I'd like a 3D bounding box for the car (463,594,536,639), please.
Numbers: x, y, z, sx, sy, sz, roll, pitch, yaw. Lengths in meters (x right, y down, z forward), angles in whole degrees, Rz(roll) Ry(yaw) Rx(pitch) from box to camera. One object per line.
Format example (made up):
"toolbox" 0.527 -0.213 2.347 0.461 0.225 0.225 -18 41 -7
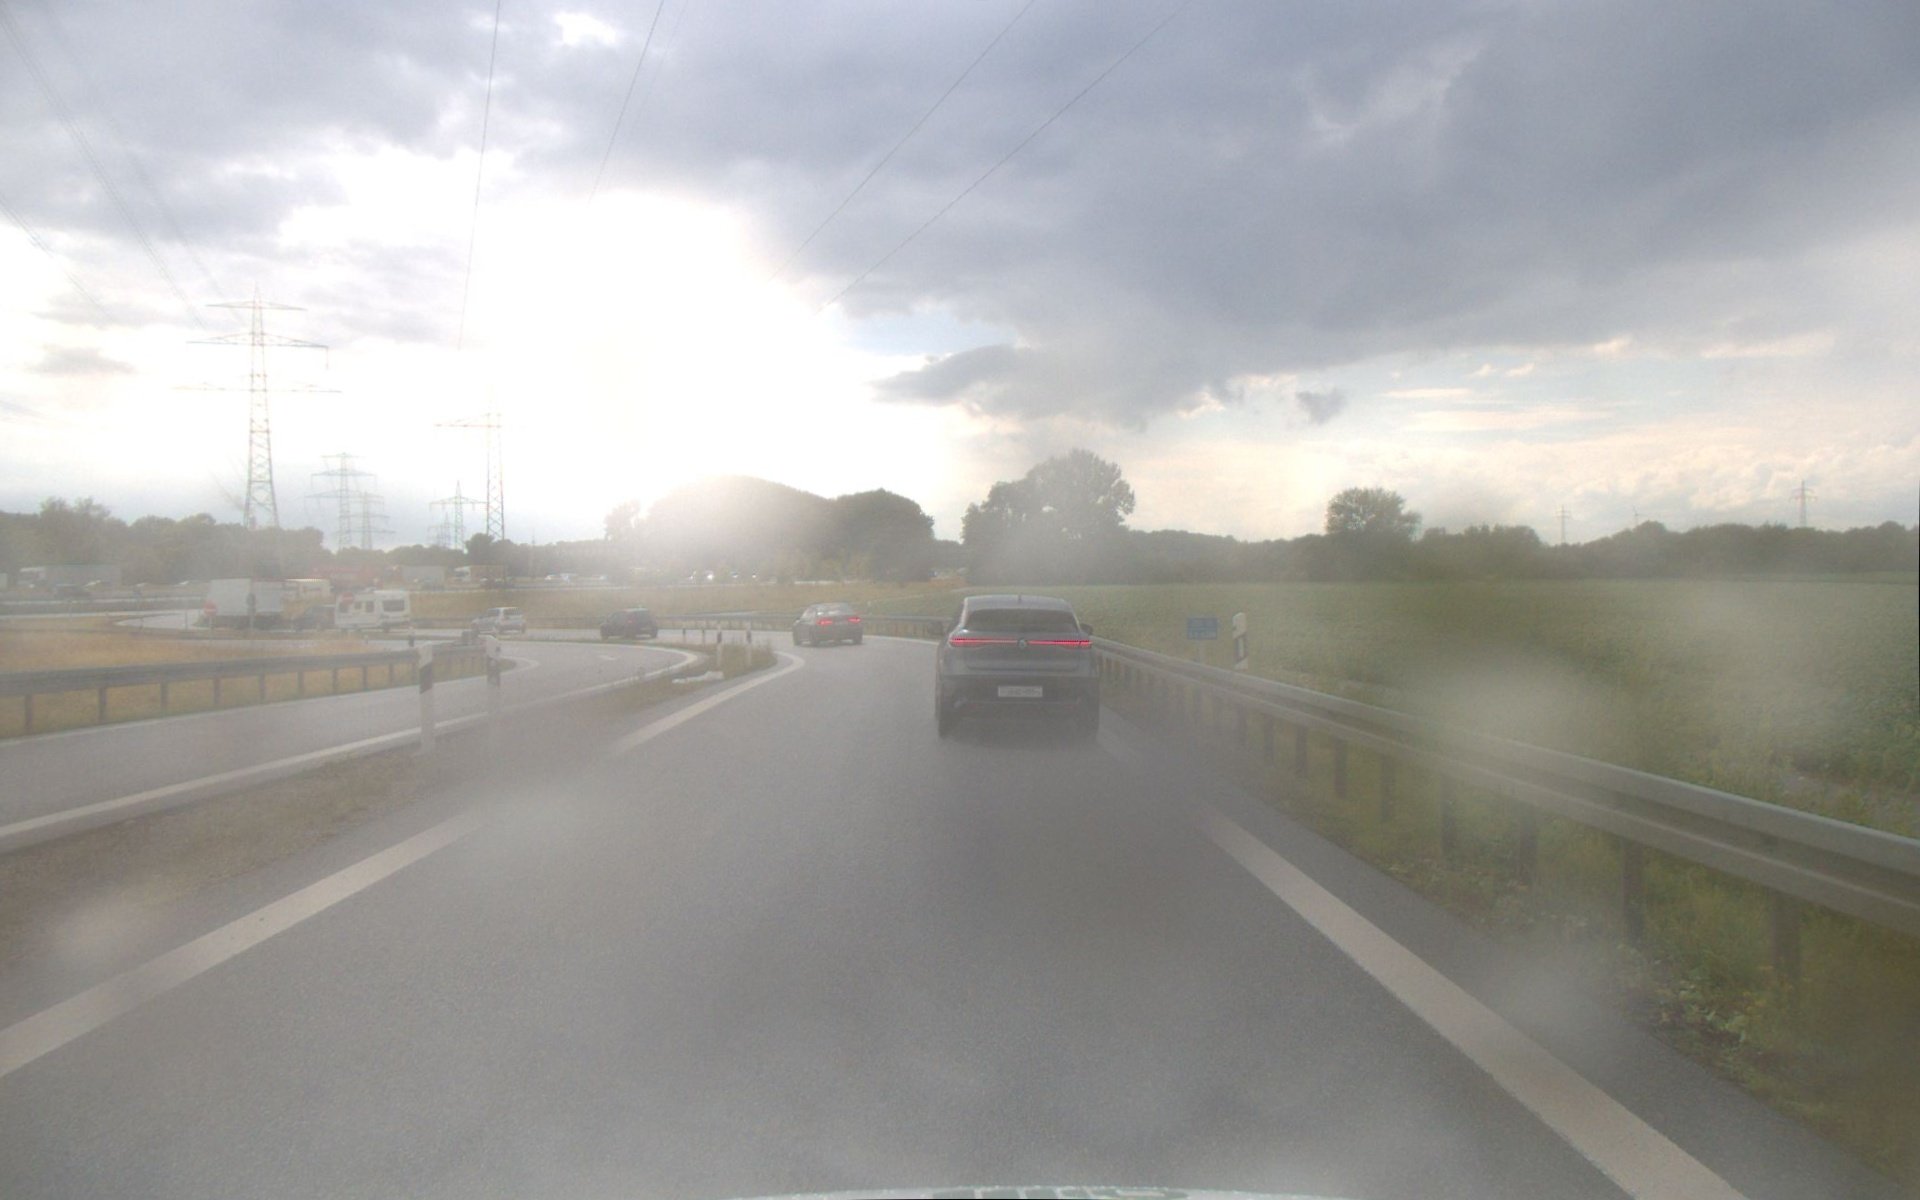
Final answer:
"car" -26.782 0.922 96.060 2.336 2.346 5.058 -2 3 -38

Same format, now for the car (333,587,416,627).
"car" -37.226 0.432 105.181 5.018 2.346 2.354 1 3 32

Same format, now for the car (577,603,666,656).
"car" -17.102 1.444 83.406 2.336 2.346 5.058 -2 3 -38

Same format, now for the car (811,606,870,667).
"car" -4.504 1.316 62.269 2.079 2.053 5.530 -1 1 -4

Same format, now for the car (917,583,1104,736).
"car" 0.567 0.611 19.502 1.952 1.594 4.149 1 0 1

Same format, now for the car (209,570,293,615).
"car" -51.337 -0.580 119.731 7.088 3.002 3.125 2 4 44

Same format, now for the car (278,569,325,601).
"car" -77.552 -1.807 195.055 3.321 3.673 9.024 -1 1 -10
